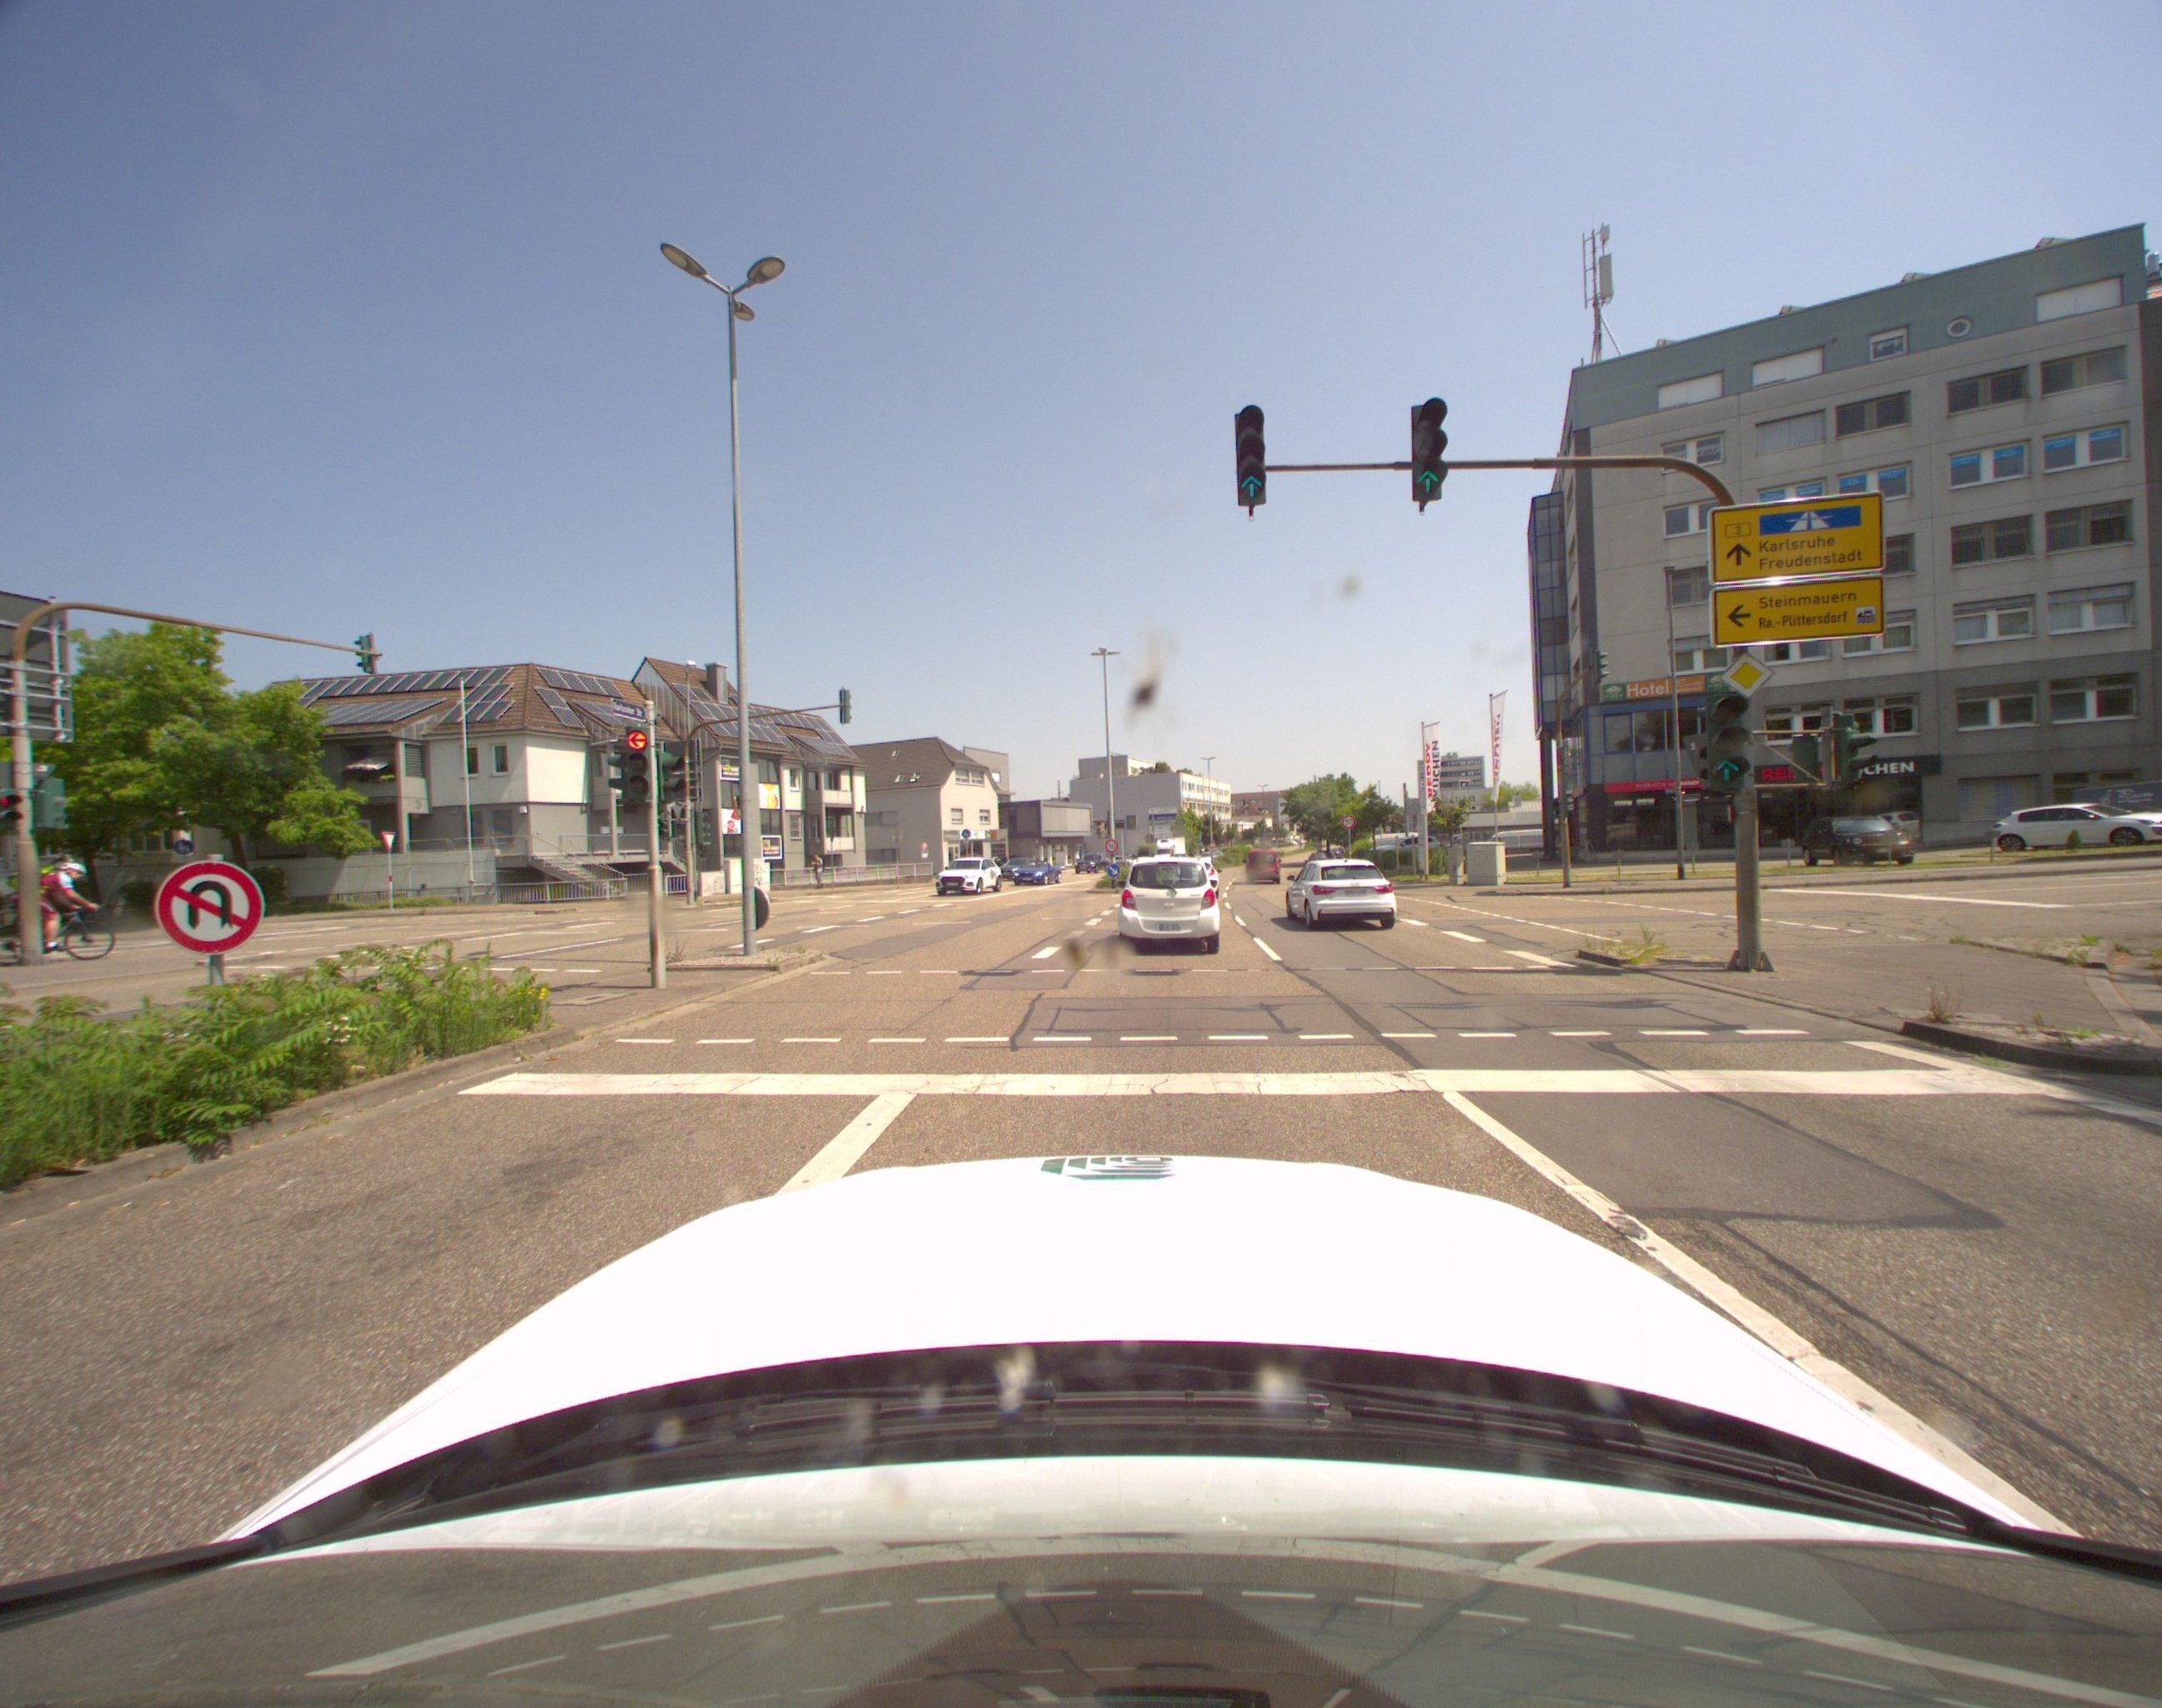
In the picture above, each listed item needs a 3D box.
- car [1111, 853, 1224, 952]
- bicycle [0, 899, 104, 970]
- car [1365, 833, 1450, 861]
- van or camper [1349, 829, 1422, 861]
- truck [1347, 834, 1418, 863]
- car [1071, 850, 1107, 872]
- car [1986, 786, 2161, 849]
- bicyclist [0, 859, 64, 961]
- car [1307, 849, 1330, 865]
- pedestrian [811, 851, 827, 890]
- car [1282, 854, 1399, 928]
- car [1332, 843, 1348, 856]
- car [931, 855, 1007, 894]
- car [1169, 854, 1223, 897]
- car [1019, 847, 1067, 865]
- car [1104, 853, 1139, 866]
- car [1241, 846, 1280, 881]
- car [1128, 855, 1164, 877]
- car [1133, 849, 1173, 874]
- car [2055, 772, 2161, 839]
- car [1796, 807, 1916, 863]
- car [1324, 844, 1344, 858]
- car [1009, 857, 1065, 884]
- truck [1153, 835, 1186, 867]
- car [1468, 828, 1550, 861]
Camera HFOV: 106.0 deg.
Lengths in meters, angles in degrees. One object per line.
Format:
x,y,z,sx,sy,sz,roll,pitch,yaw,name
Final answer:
1.488,0.765,14.185,1.704,1.511,3.252,-1,-1,5,car
-17.758,1.357,13.721,0.419,1.054,1.789,-1,1,0,bicycle
21.107,-0.426,52.758,4.714,1.713,1.998,-1,-1,-3,car
31.181,-0.930,83.429,6.737,2.897,2.288,-3,0,22,van or camper
29.328,-0.511,79.253,6.189,2.336,2.382,-4,1,23,truck
0.735,0.554,67.848,1.980,1.656,4.610,-2,0,13,car
32.328,-1.113,26.026,1.542,1.533,4.199,0,-5,-17,car
-17.757,0.915,13.635,0.420,1.642,0.820,-1,0,0,bicyclist
22.500,0.269,77.013,1.782,1.406,4.343,-1,0,21,car
-13.629,0.853,42.383,0.500,2.013,0.744,-1,1,6,pedestrian
5.505,0.728,17.701,1.659,1.399,3.799,-1,0,6,car
35.132,-0.630,110.492,1.839,1.481,5.182,-2,1,19,car
-4.826,0.864,35.813,1.804,1.570,4.571,-1,0,12,car
4.277,0.760,30.413,1.820,1.450,4.009,-1,0,7,car
-3.605,0.151,77.352,4.023,1.521,2.010,-3,-1,19,car
4.948,0.713,100.422,3.955,1.459,1.582,-2,-1,17,car
9.503,0.480,43.318,1.784,1.729,3.983,-1,0,9,car
4.662,0.848,57.771,1.850,1.431,4.761,-1,0,13,car
5.313,0.544,59.501,1.894,1.751,4.781,-1,-1,17,car
35.140,-1.559,25.826,1.889,2.037,5.163,0,0,-17,car
25.845,-0.606,27.332,1.525,1.675,4.354,-2,0,25,car
32.647,-0.393,104.989,1.943,1.530,5.189,-5,0,22,car
-2.375,0.903,45.101,1.849,1.366,4.364,-1,0,15,car
10.073,-0.284,91.982,2.247,3.417,7.071,-1,-1,18,truck
35.082,-0.746,67.010,5.832,2.528,2.132,-1,-1,25,car
